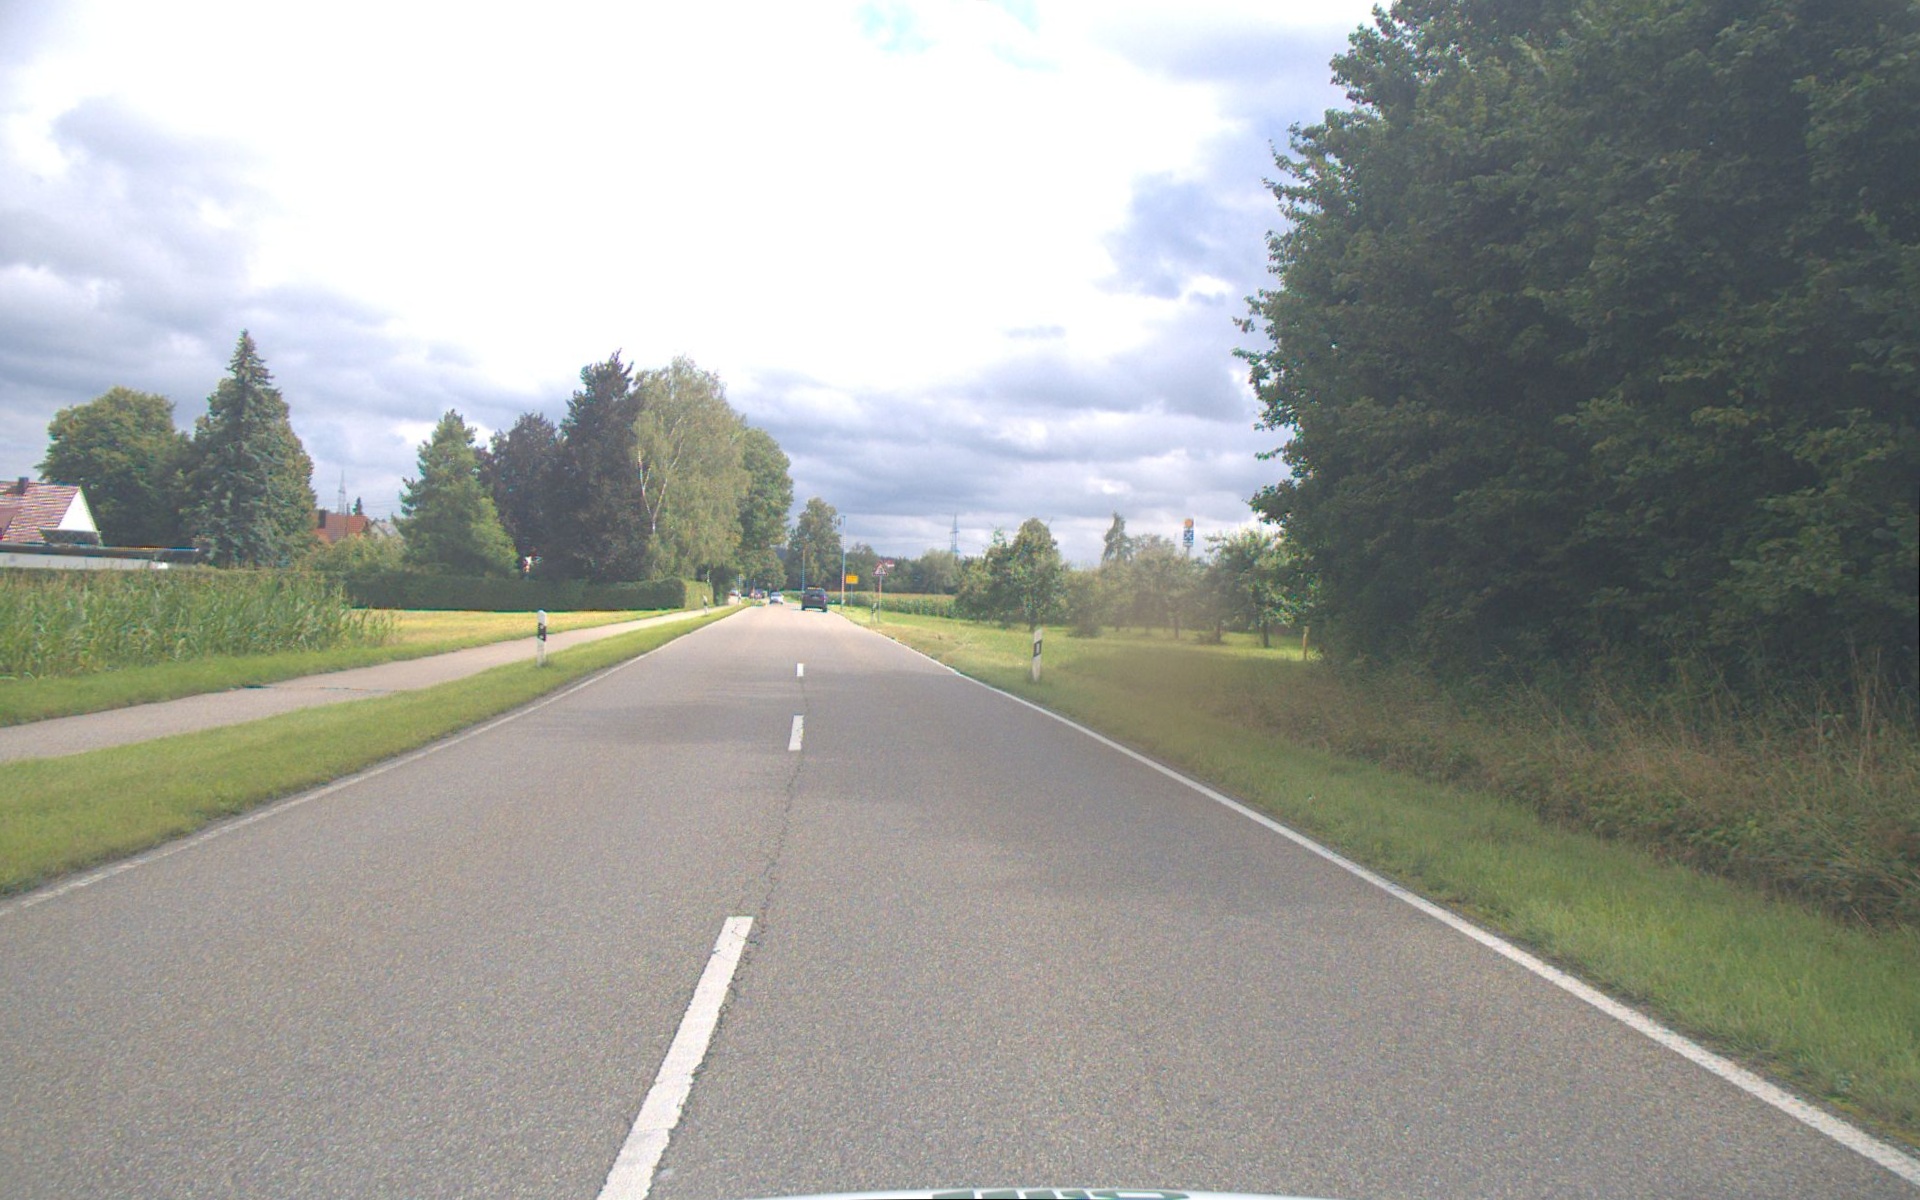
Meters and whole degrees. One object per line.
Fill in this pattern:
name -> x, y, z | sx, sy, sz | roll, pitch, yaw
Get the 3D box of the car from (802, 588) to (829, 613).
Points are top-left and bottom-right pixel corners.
car -> -10.527, 0.024, 120.327 | 1.870, 1.695, 3.995 | 1, 0, -6

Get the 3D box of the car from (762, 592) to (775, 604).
car -> -24.916, -0.237, 215.379 | 1.662, 1.484, 3.538 | 2, 0, -6
